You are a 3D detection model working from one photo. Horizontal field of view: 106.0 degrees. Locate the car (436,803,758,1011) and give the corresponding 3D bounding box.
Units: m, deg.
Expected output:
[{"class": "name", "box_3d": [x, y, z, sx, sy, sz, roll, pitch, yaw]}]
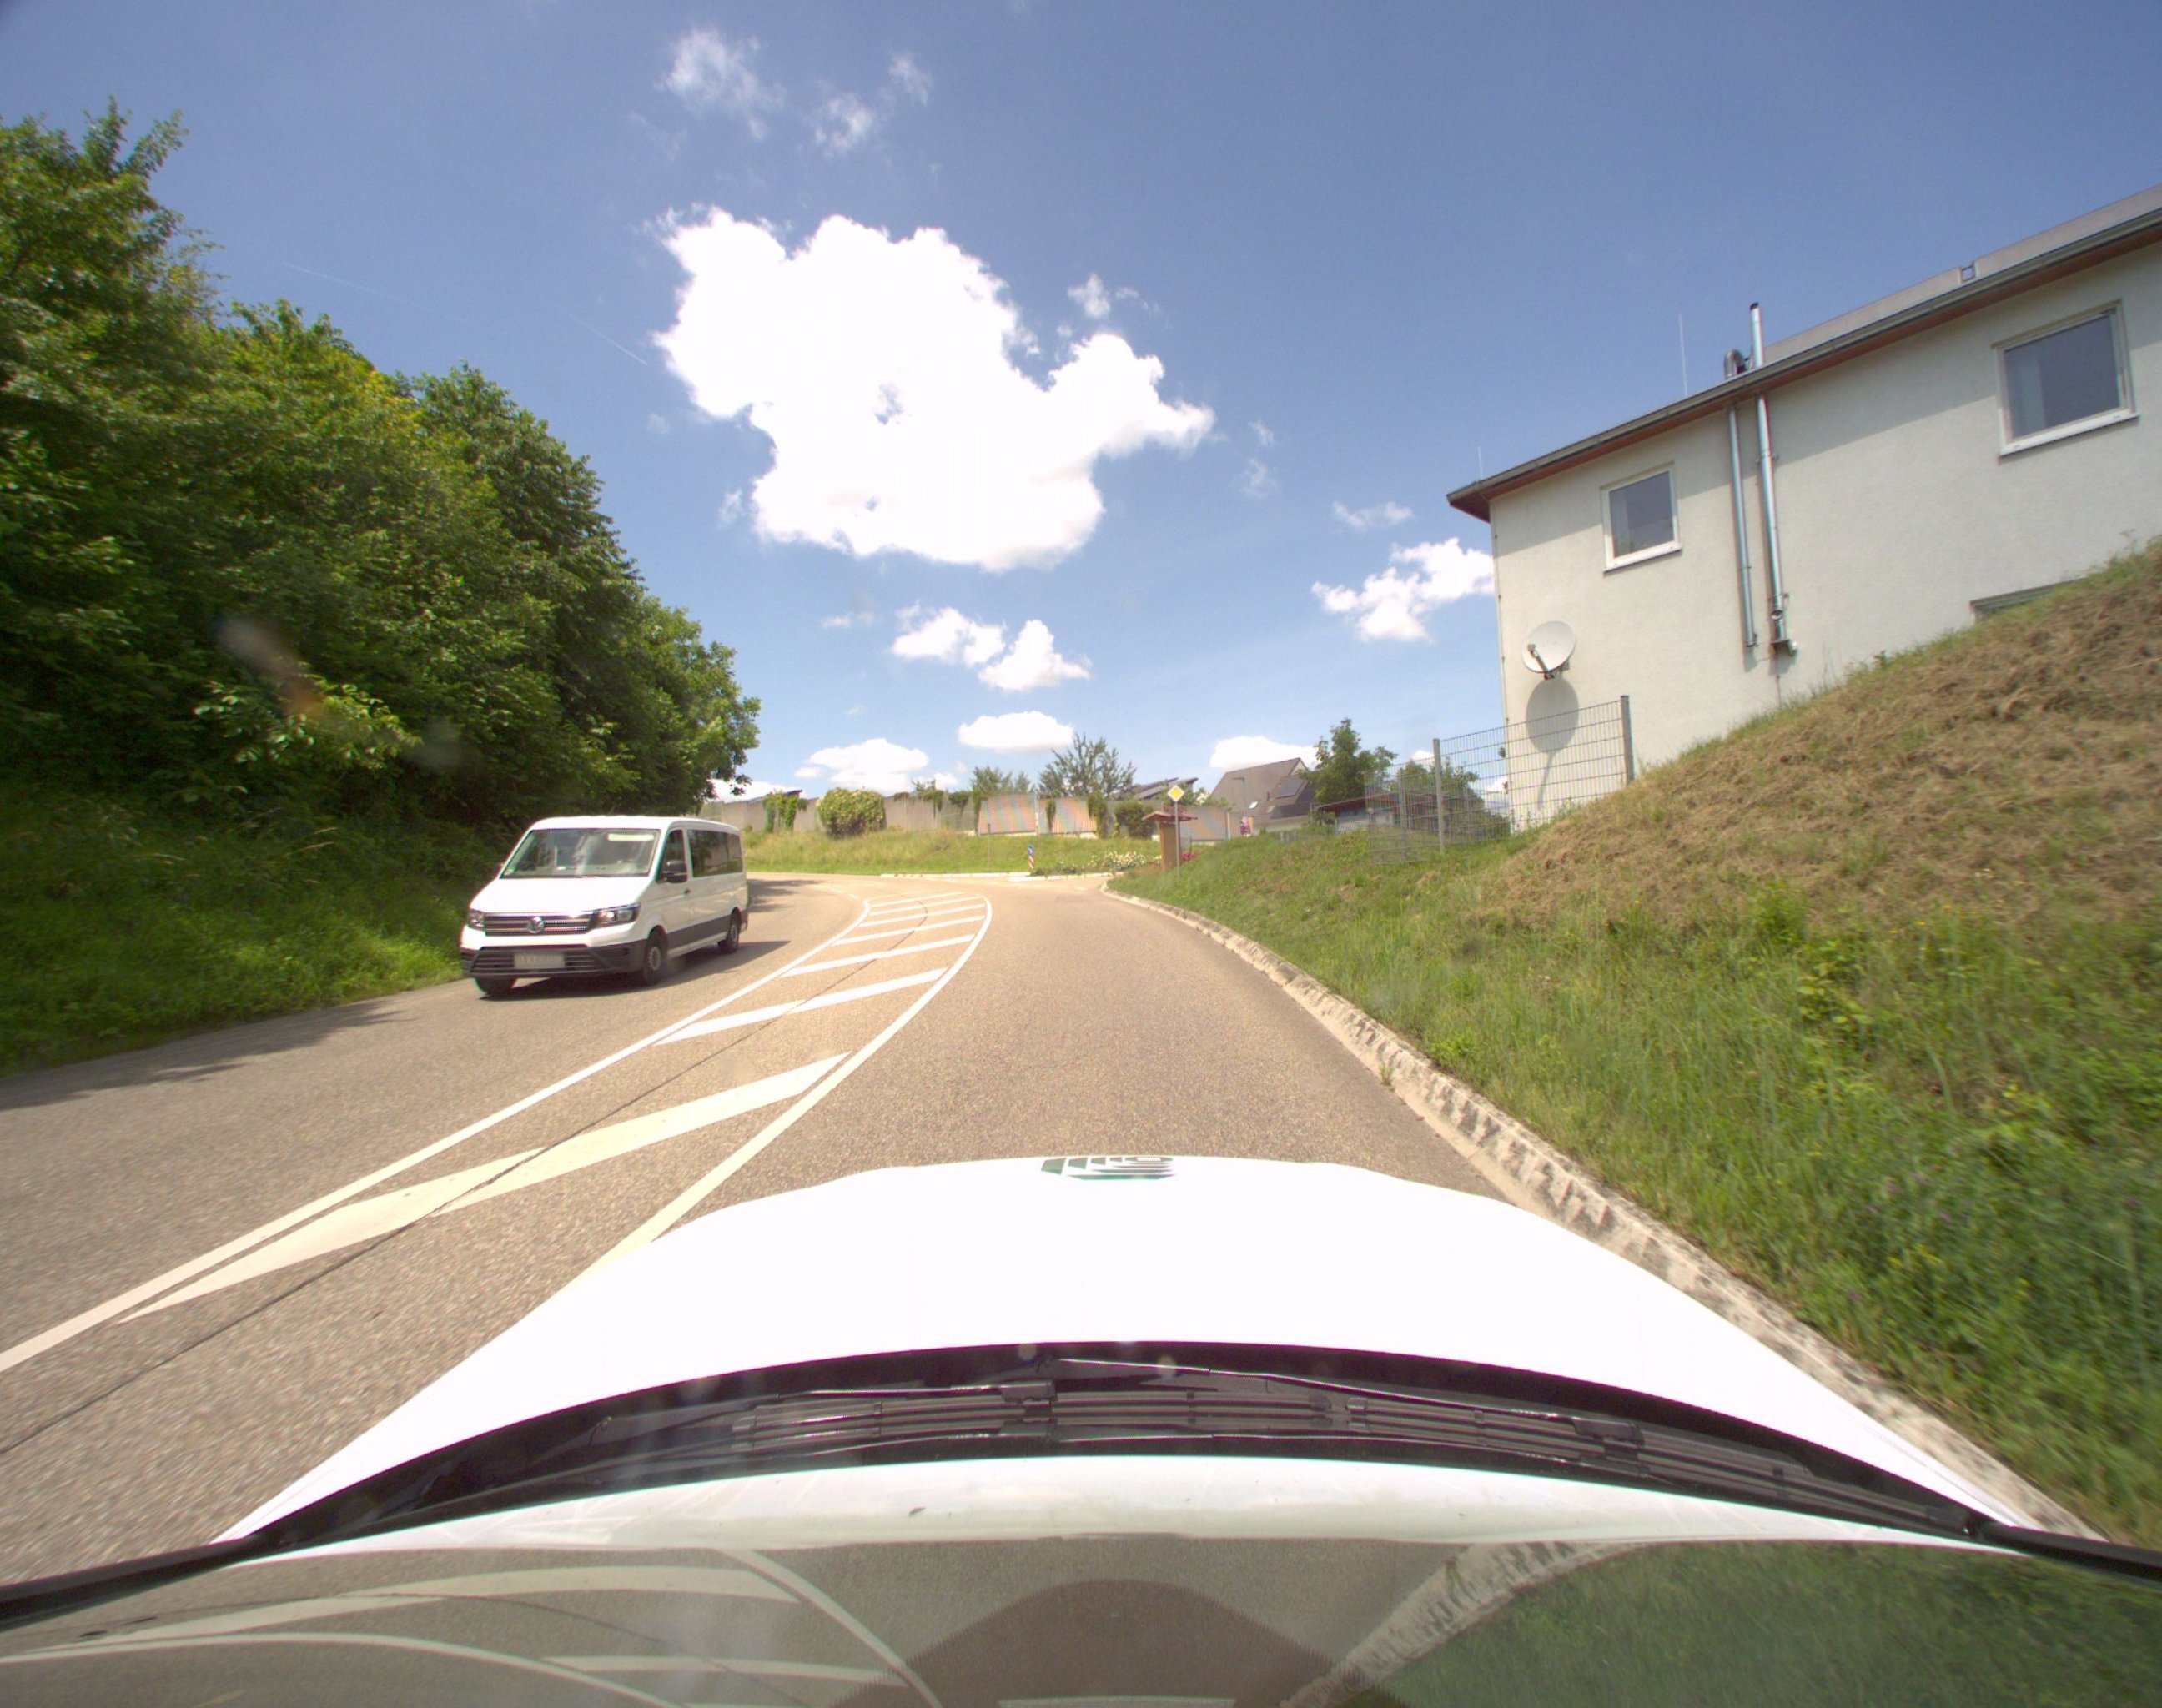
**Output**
[{"class": "car", "box_3d": [-6.691, 0.641, 12.294, 2.085, 2.290, 5.927, -2, -1, -9]}]
